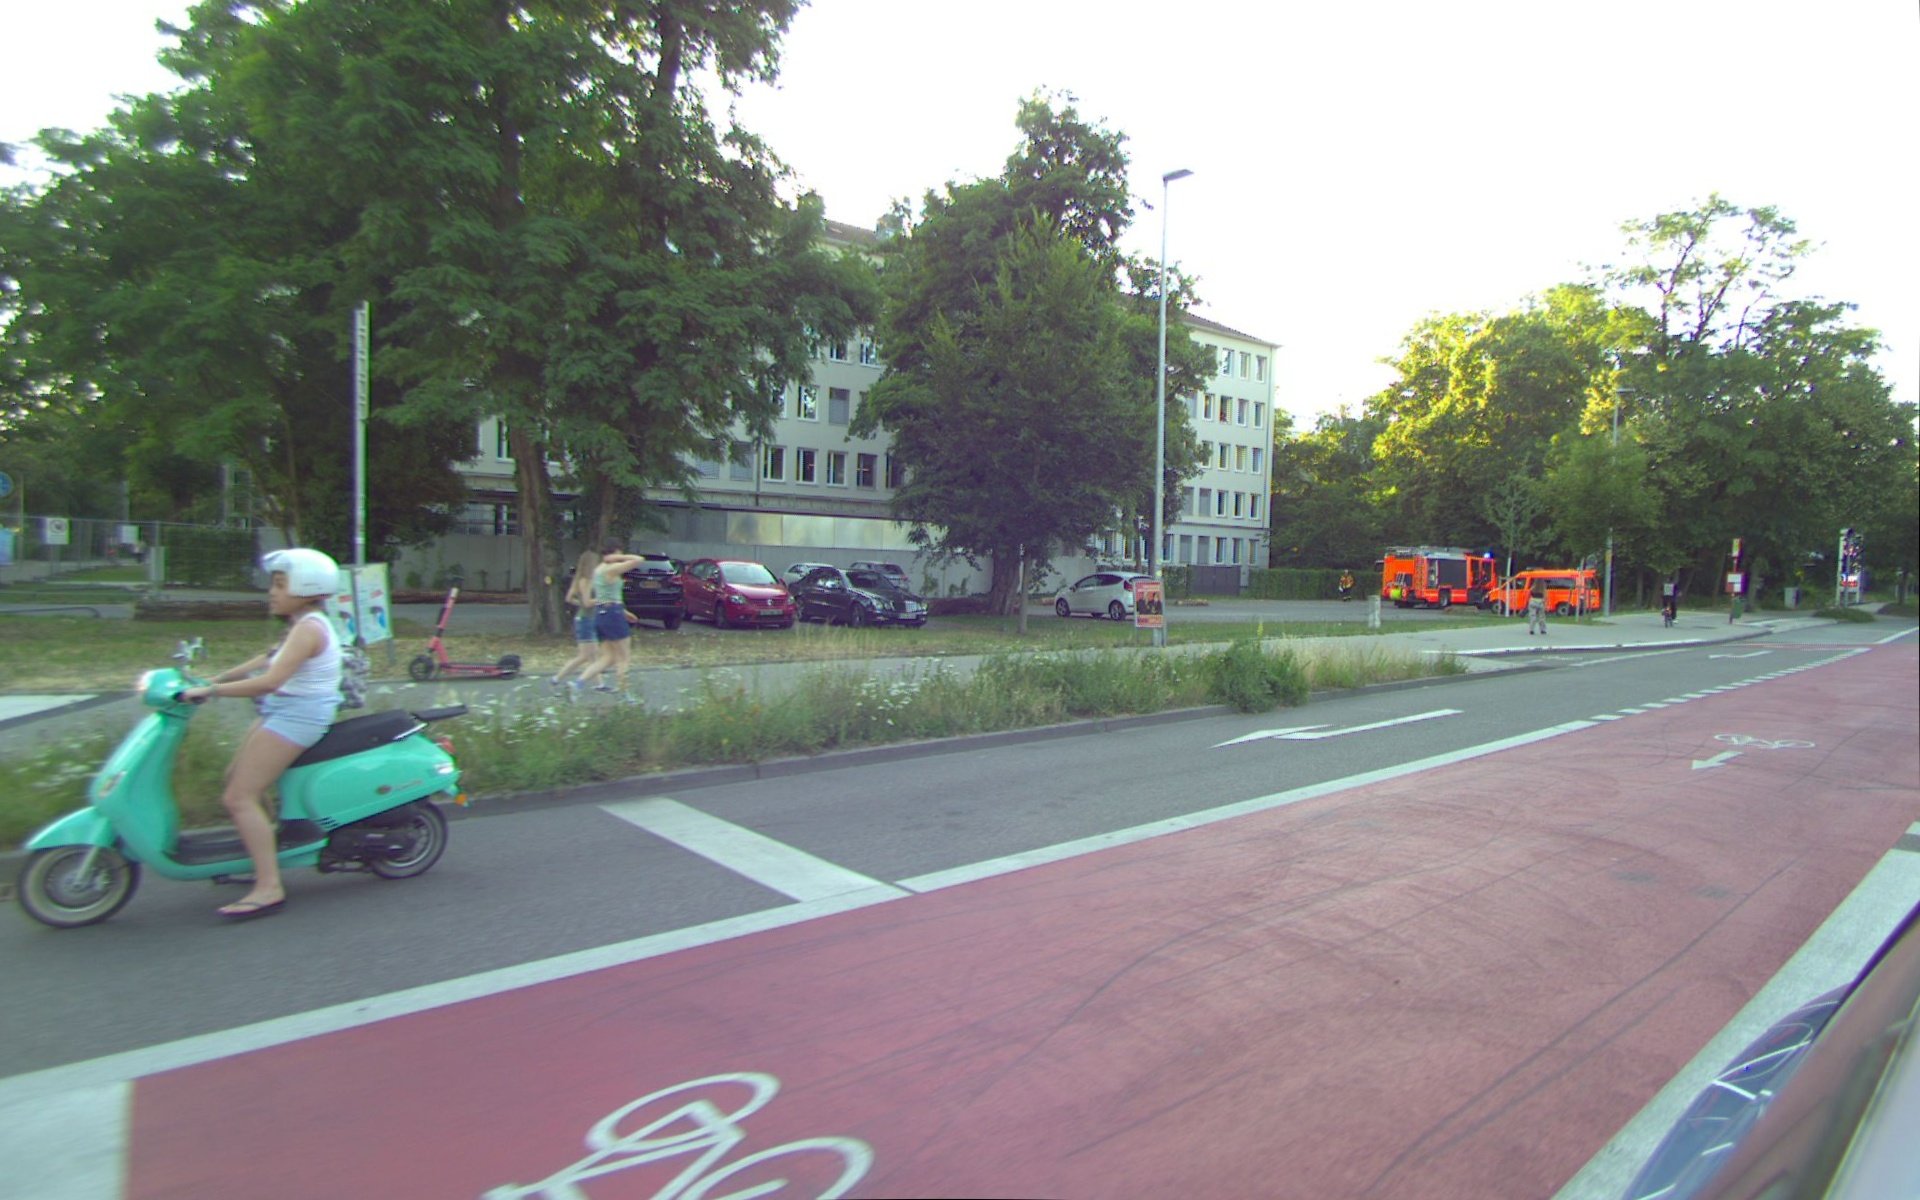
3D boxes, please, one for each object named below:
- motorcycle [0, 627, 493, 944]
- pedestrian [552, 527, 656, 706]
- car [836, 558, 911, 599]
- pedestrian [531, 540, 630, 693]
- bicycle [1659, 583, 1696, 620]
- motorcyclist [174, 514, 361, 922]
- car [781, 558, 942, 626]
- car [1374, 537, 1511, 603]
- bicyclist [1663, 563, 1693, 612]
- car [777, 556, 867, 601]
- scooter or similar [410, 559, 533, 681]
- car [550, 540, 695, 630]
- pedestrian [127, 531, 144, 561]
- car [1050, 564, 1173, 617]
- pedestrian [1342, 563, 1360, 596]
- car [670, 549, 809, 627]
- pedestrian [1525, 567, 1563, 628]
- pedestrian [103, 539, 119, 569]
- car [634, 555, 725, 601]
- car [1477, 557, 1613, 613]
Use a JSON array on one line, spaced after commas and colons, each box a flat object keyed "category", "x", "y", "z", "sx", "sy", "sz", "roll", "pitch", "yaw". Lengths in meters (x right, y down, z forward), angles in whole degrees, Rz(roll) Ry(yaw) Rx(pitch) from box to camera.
[{"category": "motorcycle", "x": -3.318, "y": 0.766, "z": 4.857, "sx": 1.858, "sy": 1.212, "sz": 0.684, "roll": 0, "pitch": 1, "yaw": -36}, {"category": "pedestrian", "x": -3.534, "y": 0.135, "z": 10.034, "sx": 0.763, "sy": 1.680, "sz": 0.721, "roll": 0, "pitch": 2, "yaw": -39}, {"category": "car", "x": -3.404, "y": -0.868, "z": 39.320, "sx": 1.734, "sy": 1.477, "sz": 3.320, "roll": 0, "pitch": 3, "yaw": -28}, {"category": "pedestrian", "x": -4.045, "y": 0.149, "z": 10.775, "sx": 0.775, "sy": 1.541, "sz": 0.737, "roll": 0, "pitch": 2, "yaw": -39}, {"category": "bicycle", "x": 24.732, "y": 0.041, "z": 34.862, "sx": 1.866, "sy": 1.256, "sz": 0.571, "roll": 0, "pitch": 3, "yaw": -41}, {"category": "motorcyclist", "x": -3.312, "y": 0.499, "z": 4.859, "sx": 0.677, "sy": 1.758, "sz": 0.741, "roll": 1, "pitch": 1, "yaw": -35}, {"category": "car", "x": -2.552, "y": -0.258, "z": 25.229, "sx": 1.884, "sy": 1.482, "sz": 4.519, "roll": 0, "pitch": 3, "yaw": -38}, {"category": "car", "x": 25.730, "y": -1.580, "z": 53.823, "sx": 8.138, "sy": 3.283, "sz": 2.775, "roll": 0, "pitch": 2, "yaw": -35}, {"category": "bicyclist", "x": 24.712, "y": -0.447, "z": 34.822, "sx": 1.020, "sy": 1.652, "sz": 0.571, "roll": 0, "pitch": 2, "yaw": -41}, {"category": "car", "x": -5.216, "y": -0.820, "z": 37.918, "sx": 1.880, "sy": 1.540, "sz": 3.921, "roll": 0, "pitch": 3, "yaw": -32}, {"category": "scooter or similar", "x": -5.440, "y": 0.202, "z": 11.291, "sx": 1.159, "sy": 1.287, "sz": 0.441, "roll": 0, "pitch": 2, "yaw": -42}, {"category": "car", "x": -7.451, "y": -0.396, "z": 22.090, "sx": 1.882, "sy": 1.761, "sz": 4.241, "roll": 0, "pitch": 3, "yaw": -35}, {"category": "pedestrian", "x": -45.899, "y": -2.986, "z": 56.333, "sx": 0.670, "sy": 1.642, "sz": 0.688, "roll": 0, "pitch": 2, "yaw": -36}, {"category": "car", "x": 4.597, "y": -0.331, "z": 31.113, "sx": 1.633, "sy": 1.477, "sz": 3.667, "roll": 0, "pitch": 3, "yaw": -36}, {"category": "pedestrian", "x": 22.980, "y": -1.219, "z": 59.487, "sx": 0.670, "sy": 1.864, "sz": 0.846, "roll": 2, "pitch": 1, "yaw": 1}, {"category": "car", "x": -5.274, "y": -0.342, "z": 23.830, "sx": 1.882, "sy": 1.630, "sz": 4.003, "roll": 0, "pitch": 3, "yaw": -33}, {"category": "pedestrian", "x": 16.176, "y": -0.084, "z": 28.026, "sx": 0.676, "sy": 1.642, "sz": 0.682, "roll": 1, "pitch": 2, "yaw": -41}, {"category": "pedestrian", "x": -47.830, "y": -2.590, "z": 57.019, "sx": 0.670, "sy": 1.642, "sz": 0.688, "roll": 0, "pitch": 2, "yaw": -36}, {"category": "car", "x": -9.717, "y": -0.786, "z": 34.920, "sx": 1.738, "sy": 1.477, "sz": 3.626, "roll": 0, "pitch": 3, "yaw": -39}, {"category": "car", "x": 27.558, "y": -0.779, "z": 47.867, "sx": 1.963, "sy": 2.422, "sz": 5.168, "roll": 0, "pitch": 3, "yaw": -38}]
